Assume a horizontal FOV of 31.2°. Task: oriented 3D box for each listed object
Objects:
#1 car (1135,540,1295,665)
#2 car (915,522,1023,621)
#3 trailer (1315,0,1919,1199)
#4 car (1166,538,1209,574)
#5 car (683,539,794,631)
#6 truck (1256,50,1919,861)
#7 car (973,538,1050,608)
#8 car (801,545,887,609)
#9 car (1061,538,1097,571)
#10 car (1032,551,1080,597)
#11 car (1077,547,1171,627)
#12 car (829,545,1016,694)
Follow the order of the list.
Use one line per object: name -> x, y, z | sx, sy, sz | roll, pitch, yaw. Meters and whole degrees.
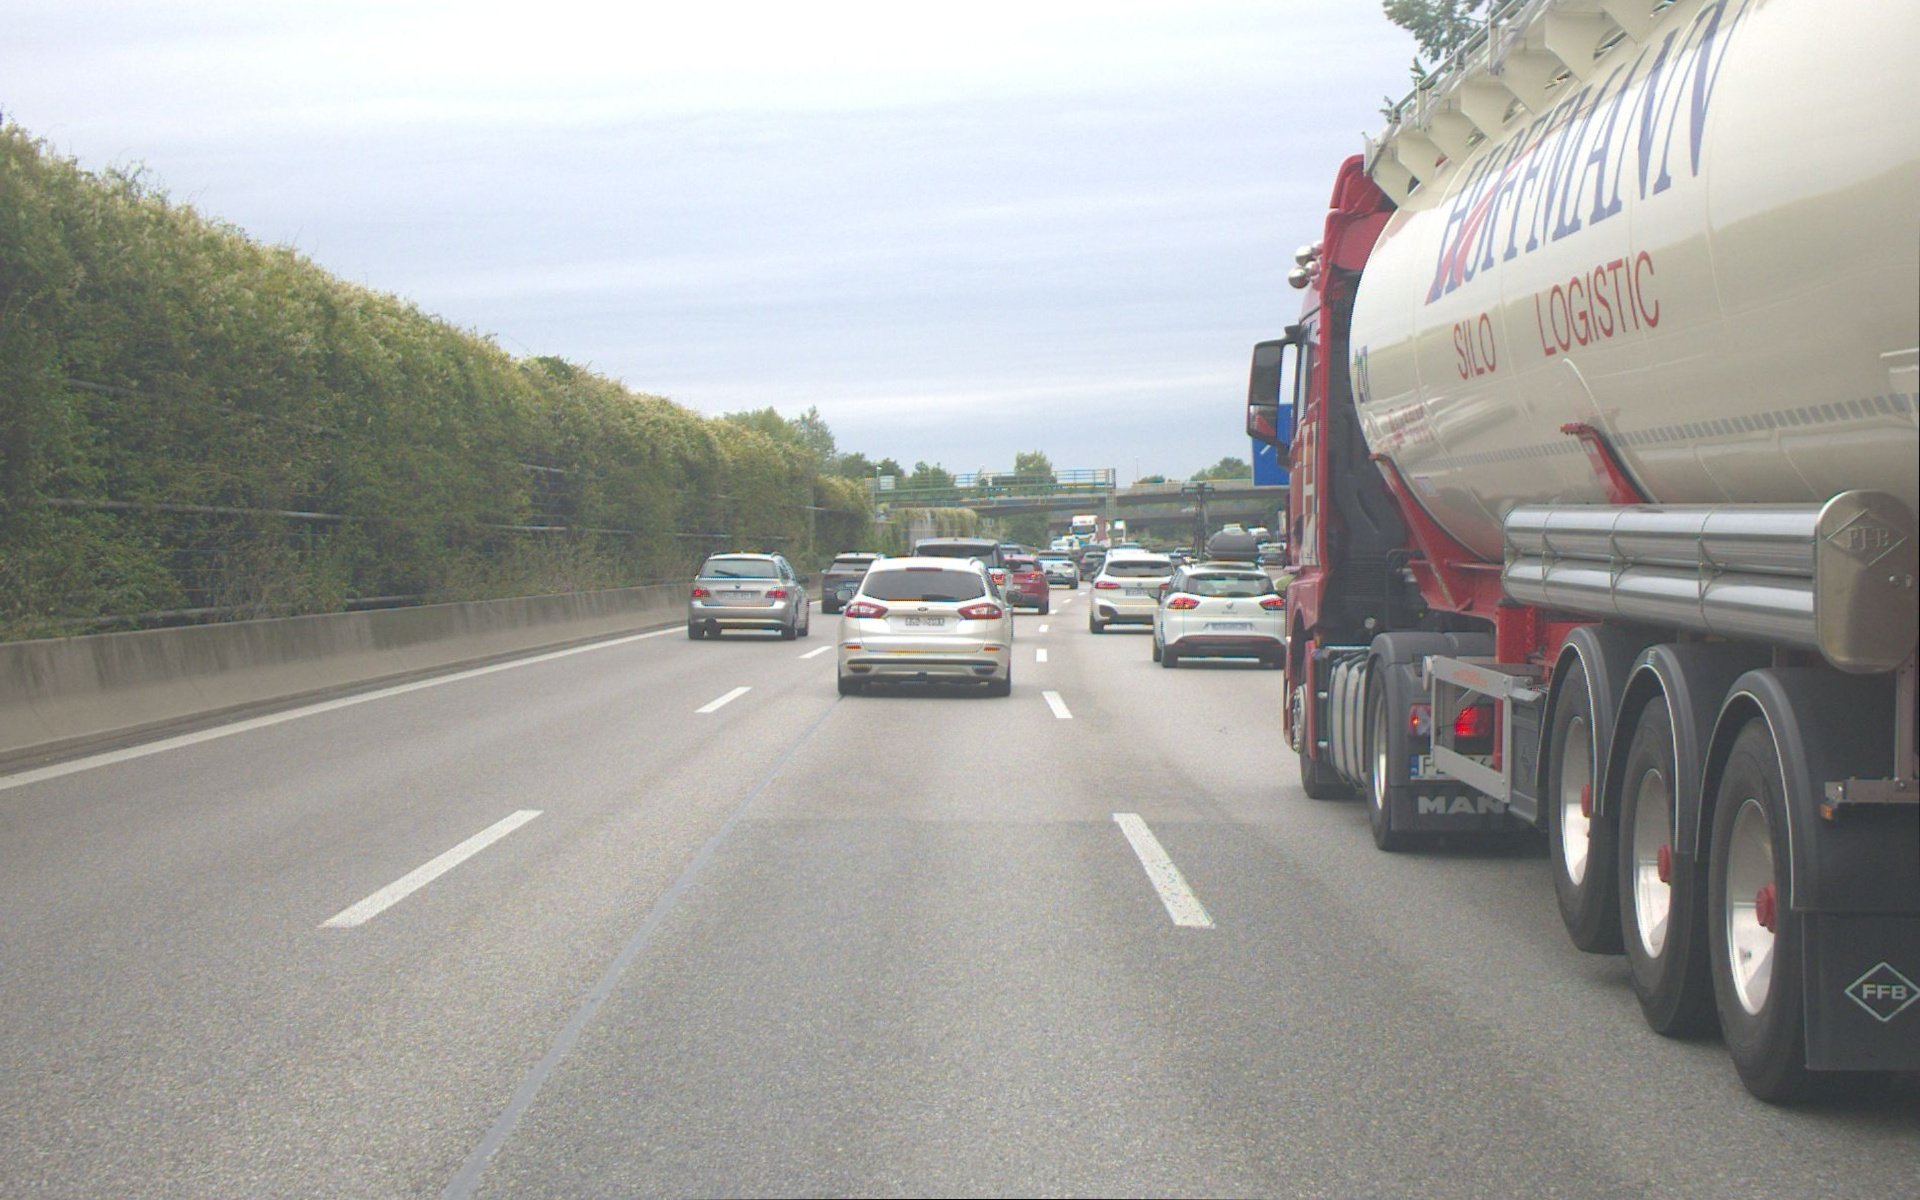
car -> 3.479, -0.004, 47.692 | 1.816, 1.620, 5.030 | 0, 1, 0
car -> 0.125, -0.525, 59.709 | 1.689, 1.501, 3.872 | 4, 2, -1
trailer -> 3.389, -0.641, 12.970 | 2.668, 3.925, 13.131 | 0, 1, 0
car -> 9.831, -1.913, 148.405 | 1.689, 1.534, 3.871 | 0, 1, 6
car -> -3.792, -0.229, 59.521 | 1.720, 1.464, 5.030 | 0, -1, -1
truck -> 3.382, -0.723, 19.859 | 2.695, 3.899, 6.556 | 0, 0, -1
car -> 1.289, -0.686, 84.195 | 1.689, 1.501, 3.871 | 4, 2, 2
car -> -2.802, -0.577, 84.165 | 1.720, 1.507, 5.030 | 0, 1, 2
car -> 5.783, -2.235, 167.786 | 1.689, 1.534, 3.871 | 0, 1, 1
car -> 3.803, -1.028, 135.736 | 1.790, 1.773, 3.871 | -1, 1, 3
car -> 3.156, -0.259, 66.745 | 1.689, 1.501, 3.871 | 0, 0, 1
car -> -0.392, 0.164, 37.646 | 1.891, 1.499, 5.030 | 1, 1, 0
